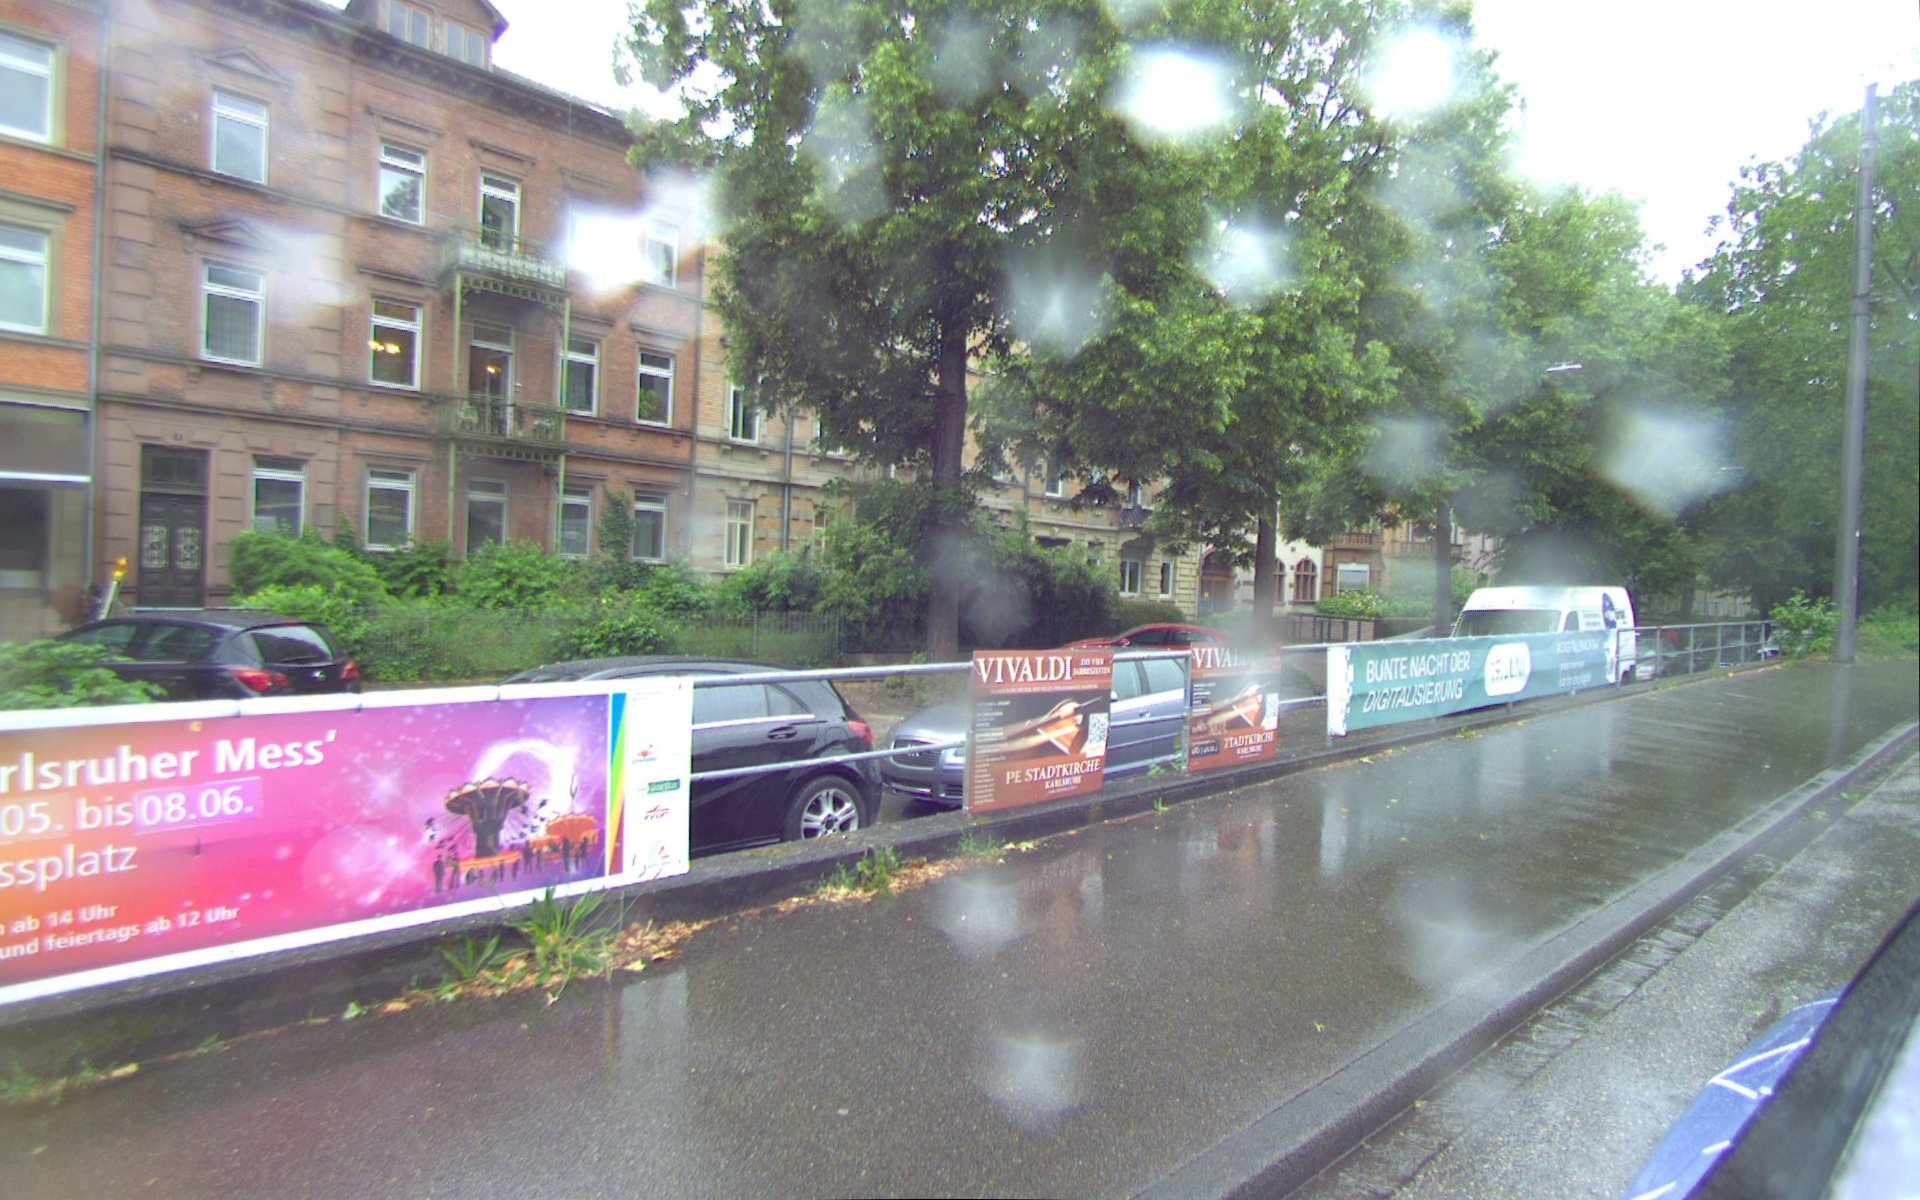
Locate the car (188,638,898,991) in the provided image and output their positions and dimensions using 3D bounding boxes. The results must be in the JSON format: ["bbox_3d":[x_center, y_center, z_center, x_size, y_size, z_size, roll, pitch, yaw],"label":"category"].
[{"bbox_3d":[-2.461,1.043,6.507,3.903,1.418,1.706,0,1,-41],"label":"car"}]

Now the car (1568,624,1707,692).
[{"bbox_3d":[16.410,1.330,24.439,4.312,1.370,1.968,0,0,-44],"label":"car"}]

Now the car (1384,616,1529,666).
[{"bbox_3d":[16.521,1.339,33.897,4.214,1.397,1.679,2,2,22],"label":"car"}]

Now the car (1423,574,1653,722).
[{"bbox_3d":[11.375,0.790,19.674,6.055,2.451,2.211,0,0,-43],"label":"car"}]

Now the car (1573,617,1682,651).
[{"bbox_3d":[32.102,1.636,48.816,3.942,1.482,1.904,1,0,15],"label":"car"}]

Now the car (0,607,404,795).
[{"bbox_3d":[-8.526,0.986,11.016,3.932,1.735,1.996,1,0,8],"label":"car"}]

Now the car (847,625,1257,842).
[{"bbox_3d":[1.036,1.074,9.813,4.005,1.559,1.734,0,0,-43],"label":"car"}]

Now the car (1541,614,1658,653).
[{"bbox_3d":[28.482,1.463,45.184,3.942,1.585,1.991,1,0,15],"label":"car"}]

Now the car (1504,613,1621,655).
[{"bbox_3d":[25.601,1.430,43.177,3.948,1.629,1.815,1,0,19],"label":"car"}]

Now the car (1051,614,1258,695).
[{"bbox_3d":[4.403,1.168,22.748,4.372,1.471,1.888,2,1,18],"label":"car"}]
